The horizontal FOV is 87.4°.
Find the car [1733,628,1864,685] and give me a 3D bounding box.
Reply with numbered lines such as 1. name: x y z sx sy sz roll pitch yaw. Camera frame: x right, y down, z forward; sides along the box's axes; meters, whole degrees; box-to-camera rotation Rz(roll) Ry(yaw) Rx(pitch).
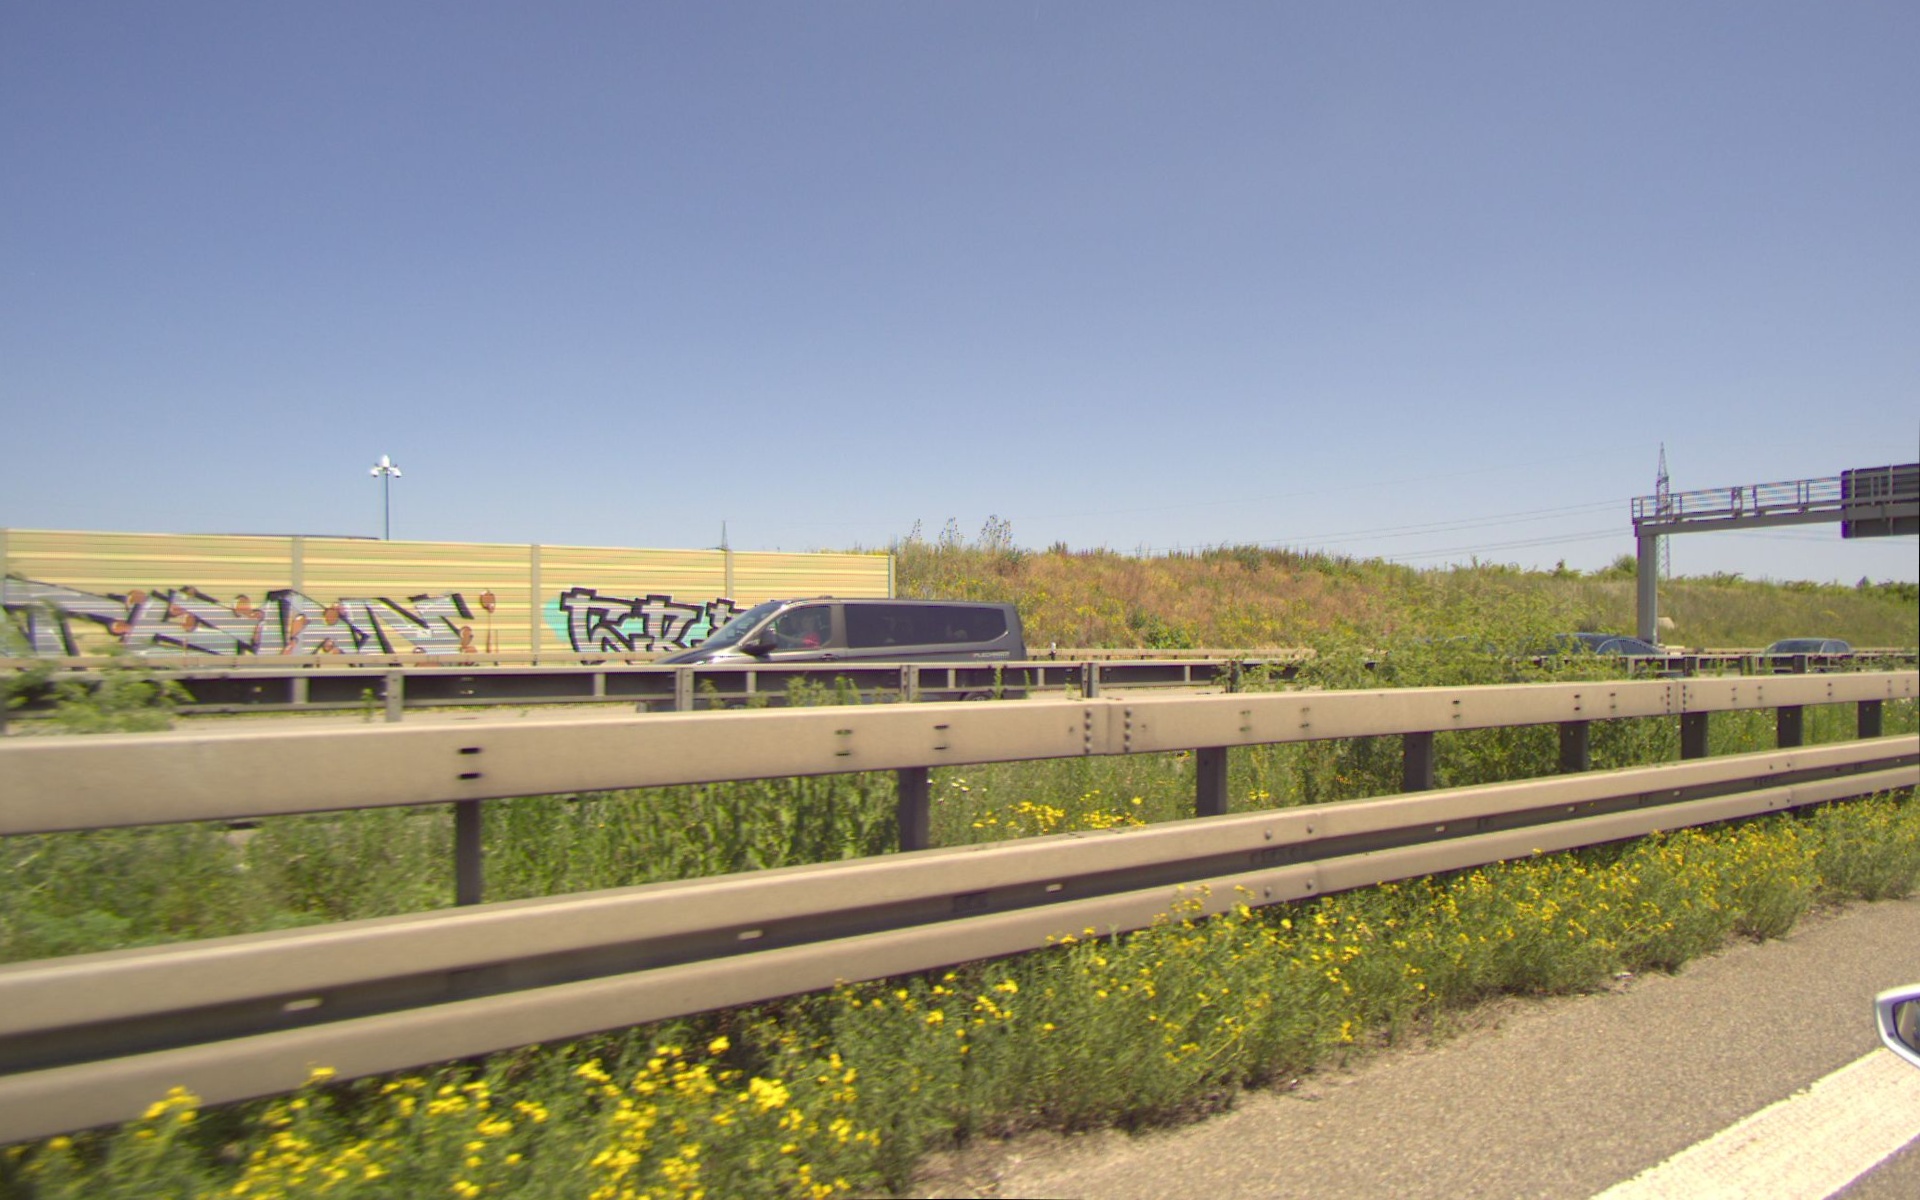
1. car: 23.961 1.601 28.681 3.839 1.530 1.665 2 -4 -31

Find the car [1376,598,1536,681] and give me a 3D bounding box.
1. car: 13.285 1.041 26.890 3.953 2.040 1.984 2 0 -30

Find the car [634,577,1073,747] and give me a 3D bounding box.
1. car: -1.351 0.842 13.976 5.787 1.965 1.984 2 -4 -31
